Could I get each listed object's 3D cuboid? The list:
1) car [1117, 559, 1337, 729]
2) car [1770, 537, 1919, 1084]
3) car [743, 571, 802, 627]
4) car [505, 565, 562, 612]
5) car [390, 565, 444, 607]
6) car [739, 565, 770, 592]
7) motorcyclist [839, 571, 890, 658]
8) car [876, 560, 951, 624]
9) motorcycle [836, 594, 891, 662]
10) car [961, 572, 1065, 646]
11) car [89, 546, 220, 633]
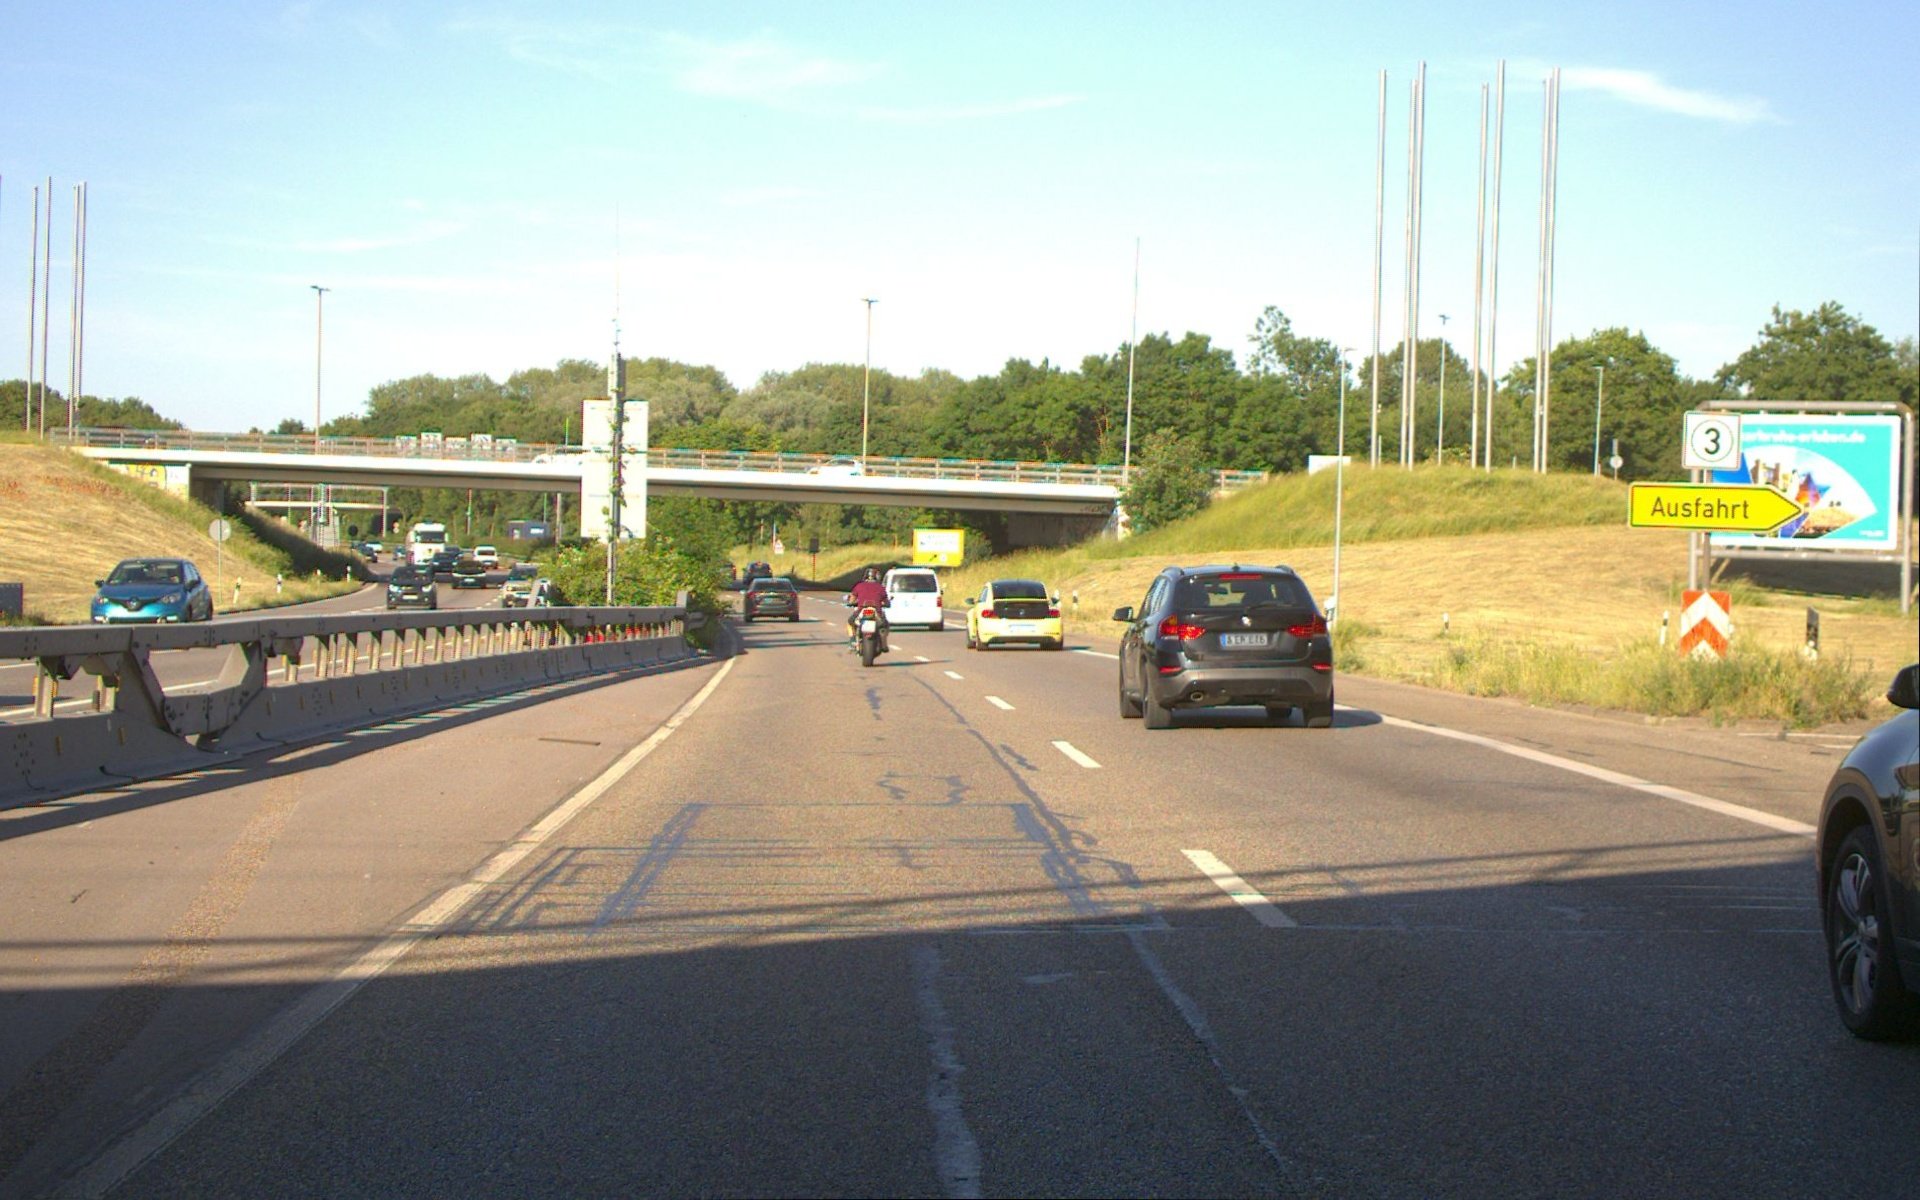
[{"bbox_3d":[2.537,0.449,33.591,1.699,1.501,4.579,-2,-1,-1],"label":"car"},{"bbox_3d":[3.638,0.616,9.327,1.755,1.567,4.521,0,1,-1],"label":"car"},{"bbox_3d":[-6.303,-0.053,115.716,1.897,1.761,4.001,1,1,-2],"label":"car"},{"bbox_3d":[-14.506,-0.407,117.094,1.716,1.569,4.164,0,1,-4],"label":"car"},{"bbox_3d":[-19.244,-0.513,121.969,1.609,1.480,3.393,0,1,-5],"label":"car"},{"bbox_3d":[-13.248,-1.406,222.005,1.869,1.679,4.000,2,0,-2],"label":"car"},{"bbox_3d":[-1.608,0.240,57.826,0.816,1.442,1.094,1,1,0],"label":"motorcyclist"},{"bbox_3d":[-1.346,-0.256,98.394,1.897,1.761,4.001,-1,1,-4],"label":"car"},{"bbox_3d":[-1.611,0.460,57.932,0.816,1.066,2.836,1,1,0],"label":"motorcycle"},{"bbox_3d":[1.080,0.166,72.211,1.897,1.466,4.001,0,1,-3],"label":"car"},{"bbox_3d":[-15.143,-0.207,64.814,1.672,1.567,4.322,0,0,-3],"label":"car"}]
